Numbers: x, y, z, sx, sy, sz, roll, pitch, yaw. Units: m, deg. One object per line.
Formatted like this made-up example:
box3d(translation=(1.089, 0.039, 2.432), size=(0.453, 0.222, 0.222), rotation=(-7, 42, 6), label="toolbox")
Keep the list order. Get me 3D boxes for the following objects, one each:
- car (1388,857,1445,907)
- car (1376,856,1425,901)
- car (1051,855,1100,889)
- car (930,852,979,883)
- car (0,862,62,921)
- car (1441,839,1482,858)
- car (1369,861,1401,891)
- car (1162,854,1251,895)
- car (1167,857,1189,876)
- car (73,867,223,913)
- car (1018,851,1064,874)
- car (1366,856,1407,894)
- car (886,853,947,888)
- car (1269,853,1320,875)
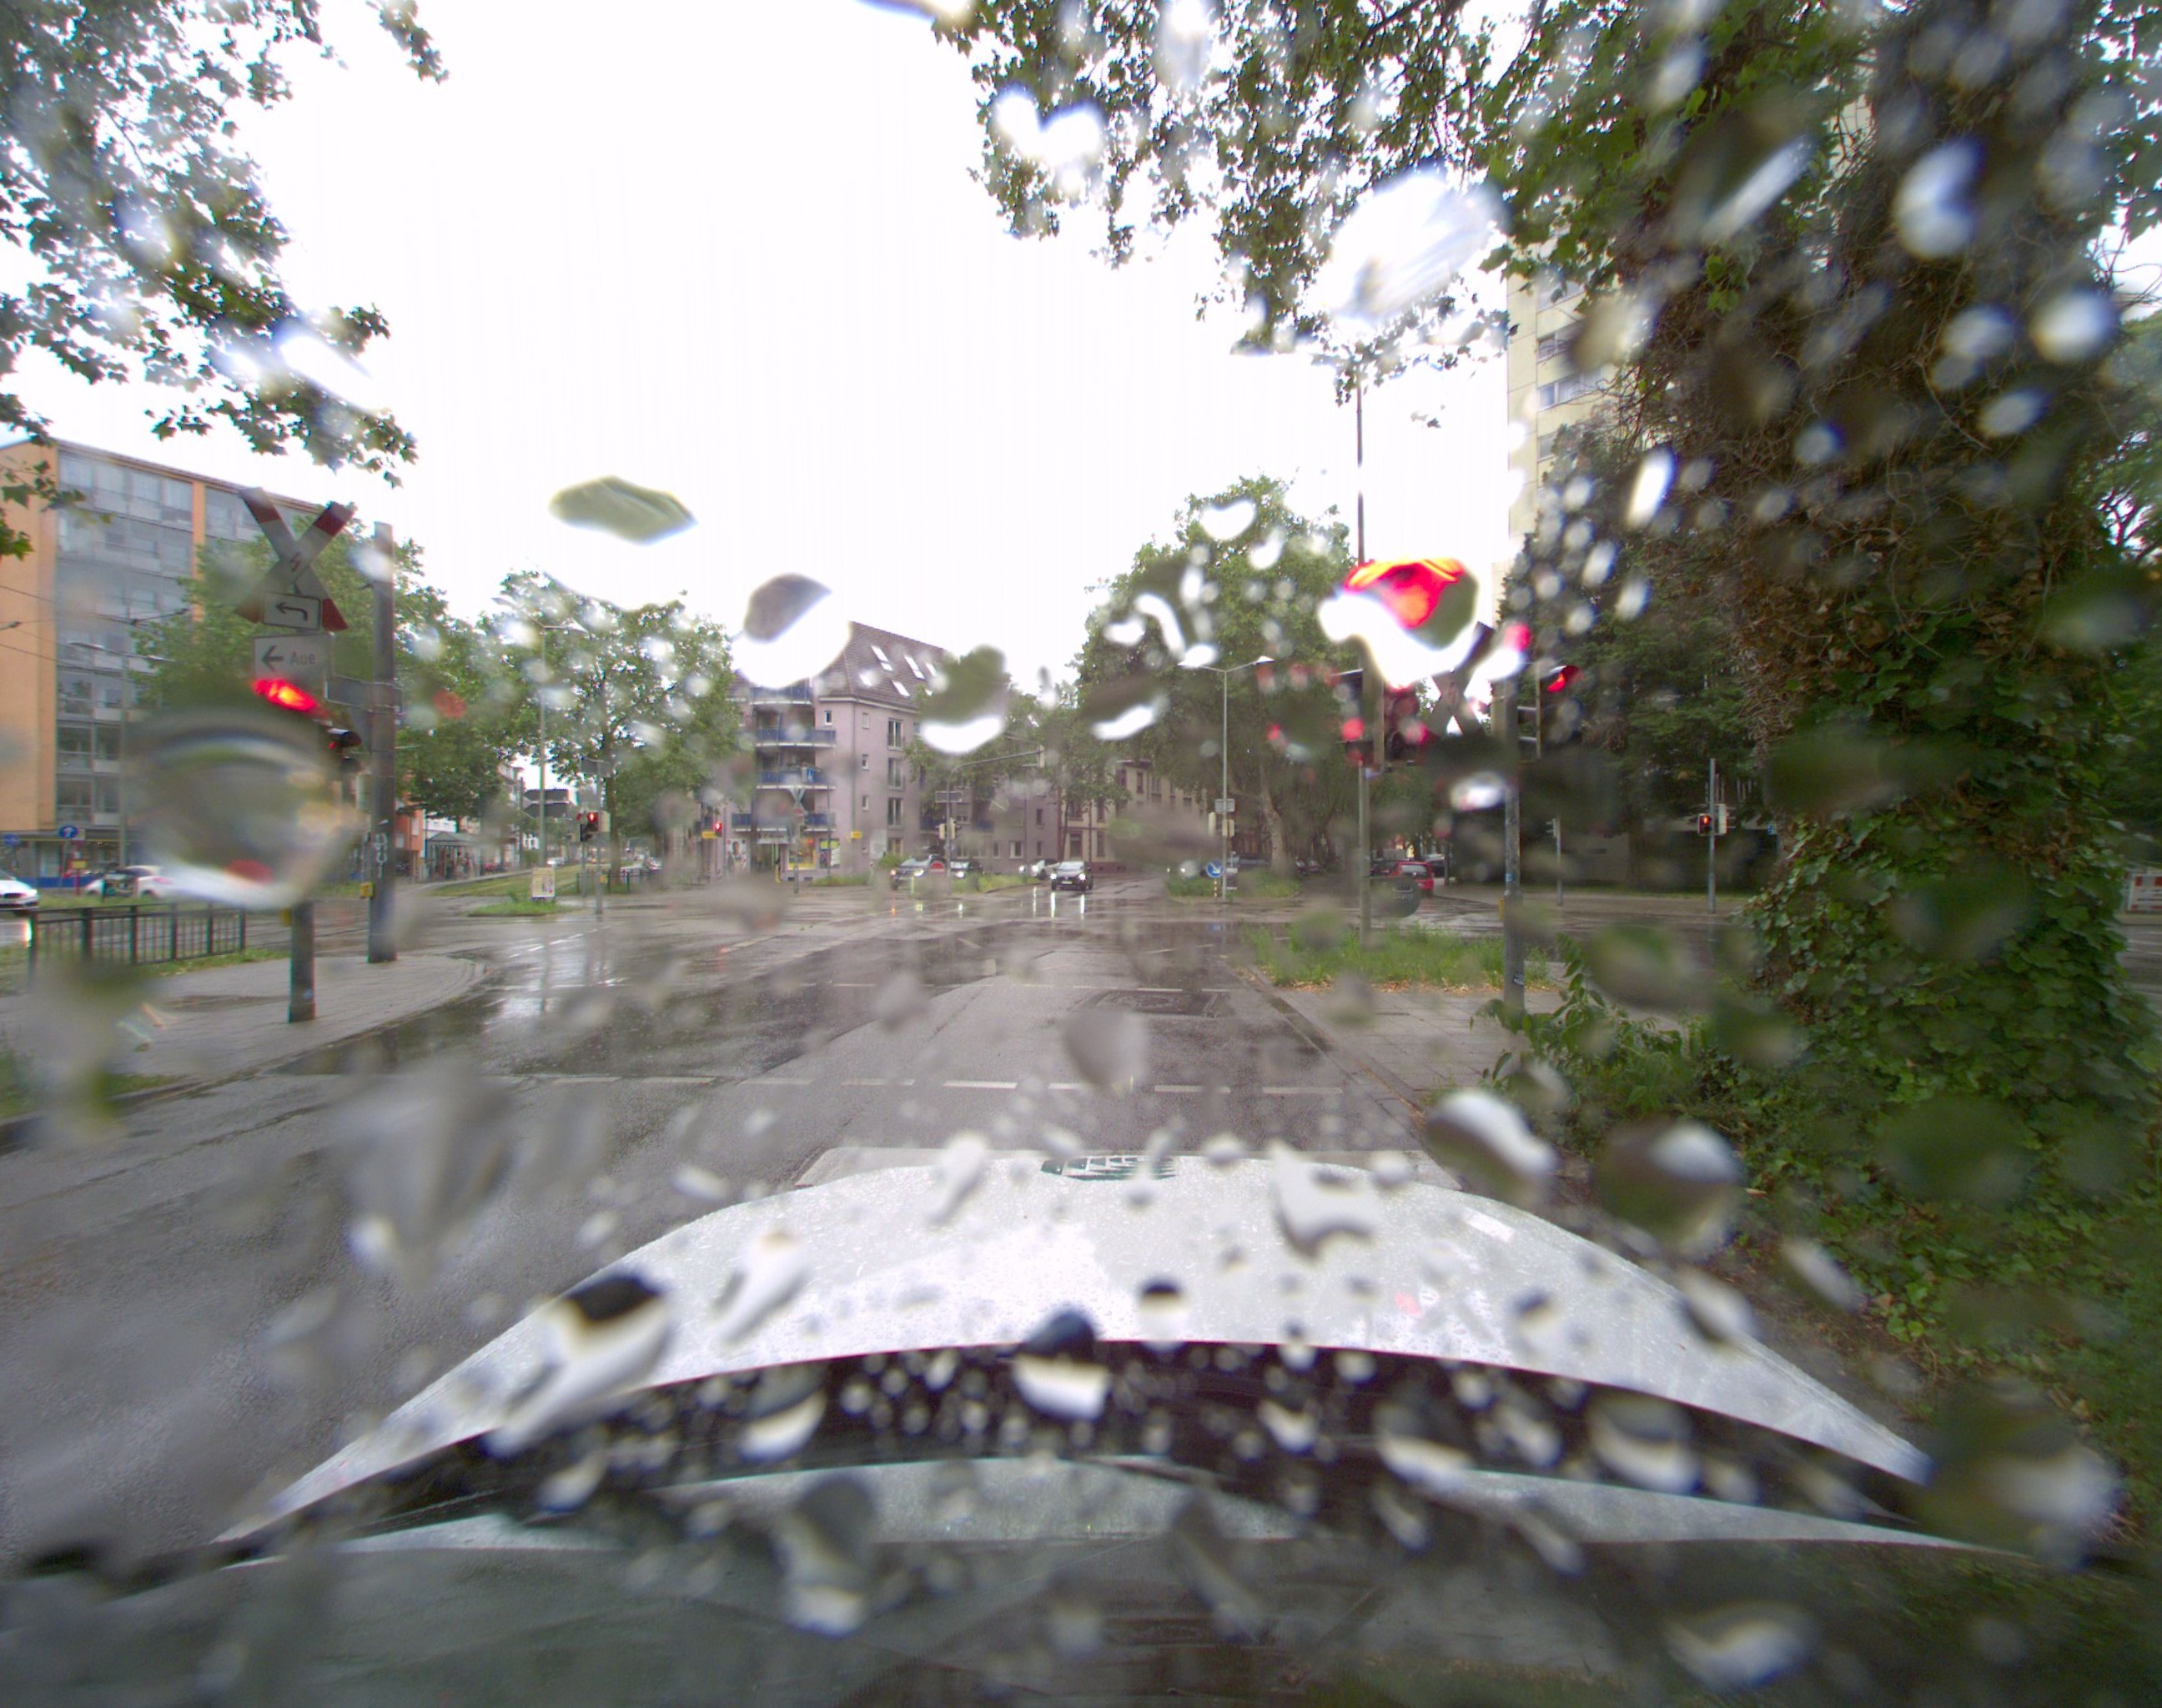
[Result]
box3d(translation=(14.895, 1.208, 36.317), size=(1.977, 2.013, 4.019), rotation=(-2, 0, 18), label="car")
box3d(translation=(15.872, 1.173, 40.602), size=(1.977, 2.013, 4.019), rotation=(-2, 0, 18), label="car")
box3d(translation=(-0.218, 0.884, 40.674), size=(1.591, 1.552, 3.572), rotation=(-2, 0, 13), label="car")
box3d(translation=(-6.982, 0.720, 45.257), size=(1.715, 1.552, 3.567), rotation=(-2, 0, 8), label="car")
box3d(translation=(-32.155, 1.124, 23.428), size=(3.978, 1.651, 1.980), rotation=(-2, 0, 13), label="car")
box3d(translation=(42.558, -0.604, 91.126), size=(3.953, 2.013, 1.716), rotation=(-2, 0, 21), label="car")
box3d(translation=(22.096, 1.566, 59.273), size=(1.977, 2.013, 4.019), rotation=(-2, 0, 18), label="car")
box3d(translation=(5.098, 0.818, 33.004), size=(3.457, 1.523, 1.524), rotation=(-2, 0, 10), label="car")
box3d(translation=(8.762, 1.103, 73.160), size=(1.591, 1.552, 3.571), rotation=(-2, 0, 12), label="car")
box3d(translation=(-33.685, 1.291, 29.455), size=(3.623, 1.486, 1.728), rotation=(-2, 0, 6), label="car")
box3d(translation=(-2.864, 0.605, 59.531), size=(1.662, 1.552, 4.222), rotation=(-2, 0, 23), label="car")
box3d(translation=(17.814, 1.185, 47.588), size=(1.977, 2.013, 4.019), rotation=(-2, 0, 18), label="car")
box3d(translation=(-7.851, 0.753, 39.117), size=(1.715, 1.552, 3.567), rotation=(-2, 0, 8), label="car")
box3d(translation=(17.152, 0.798, 65.326), size=(3.571, 1.618, 1.692), rotation=(-2, 0, 30), label="car")
